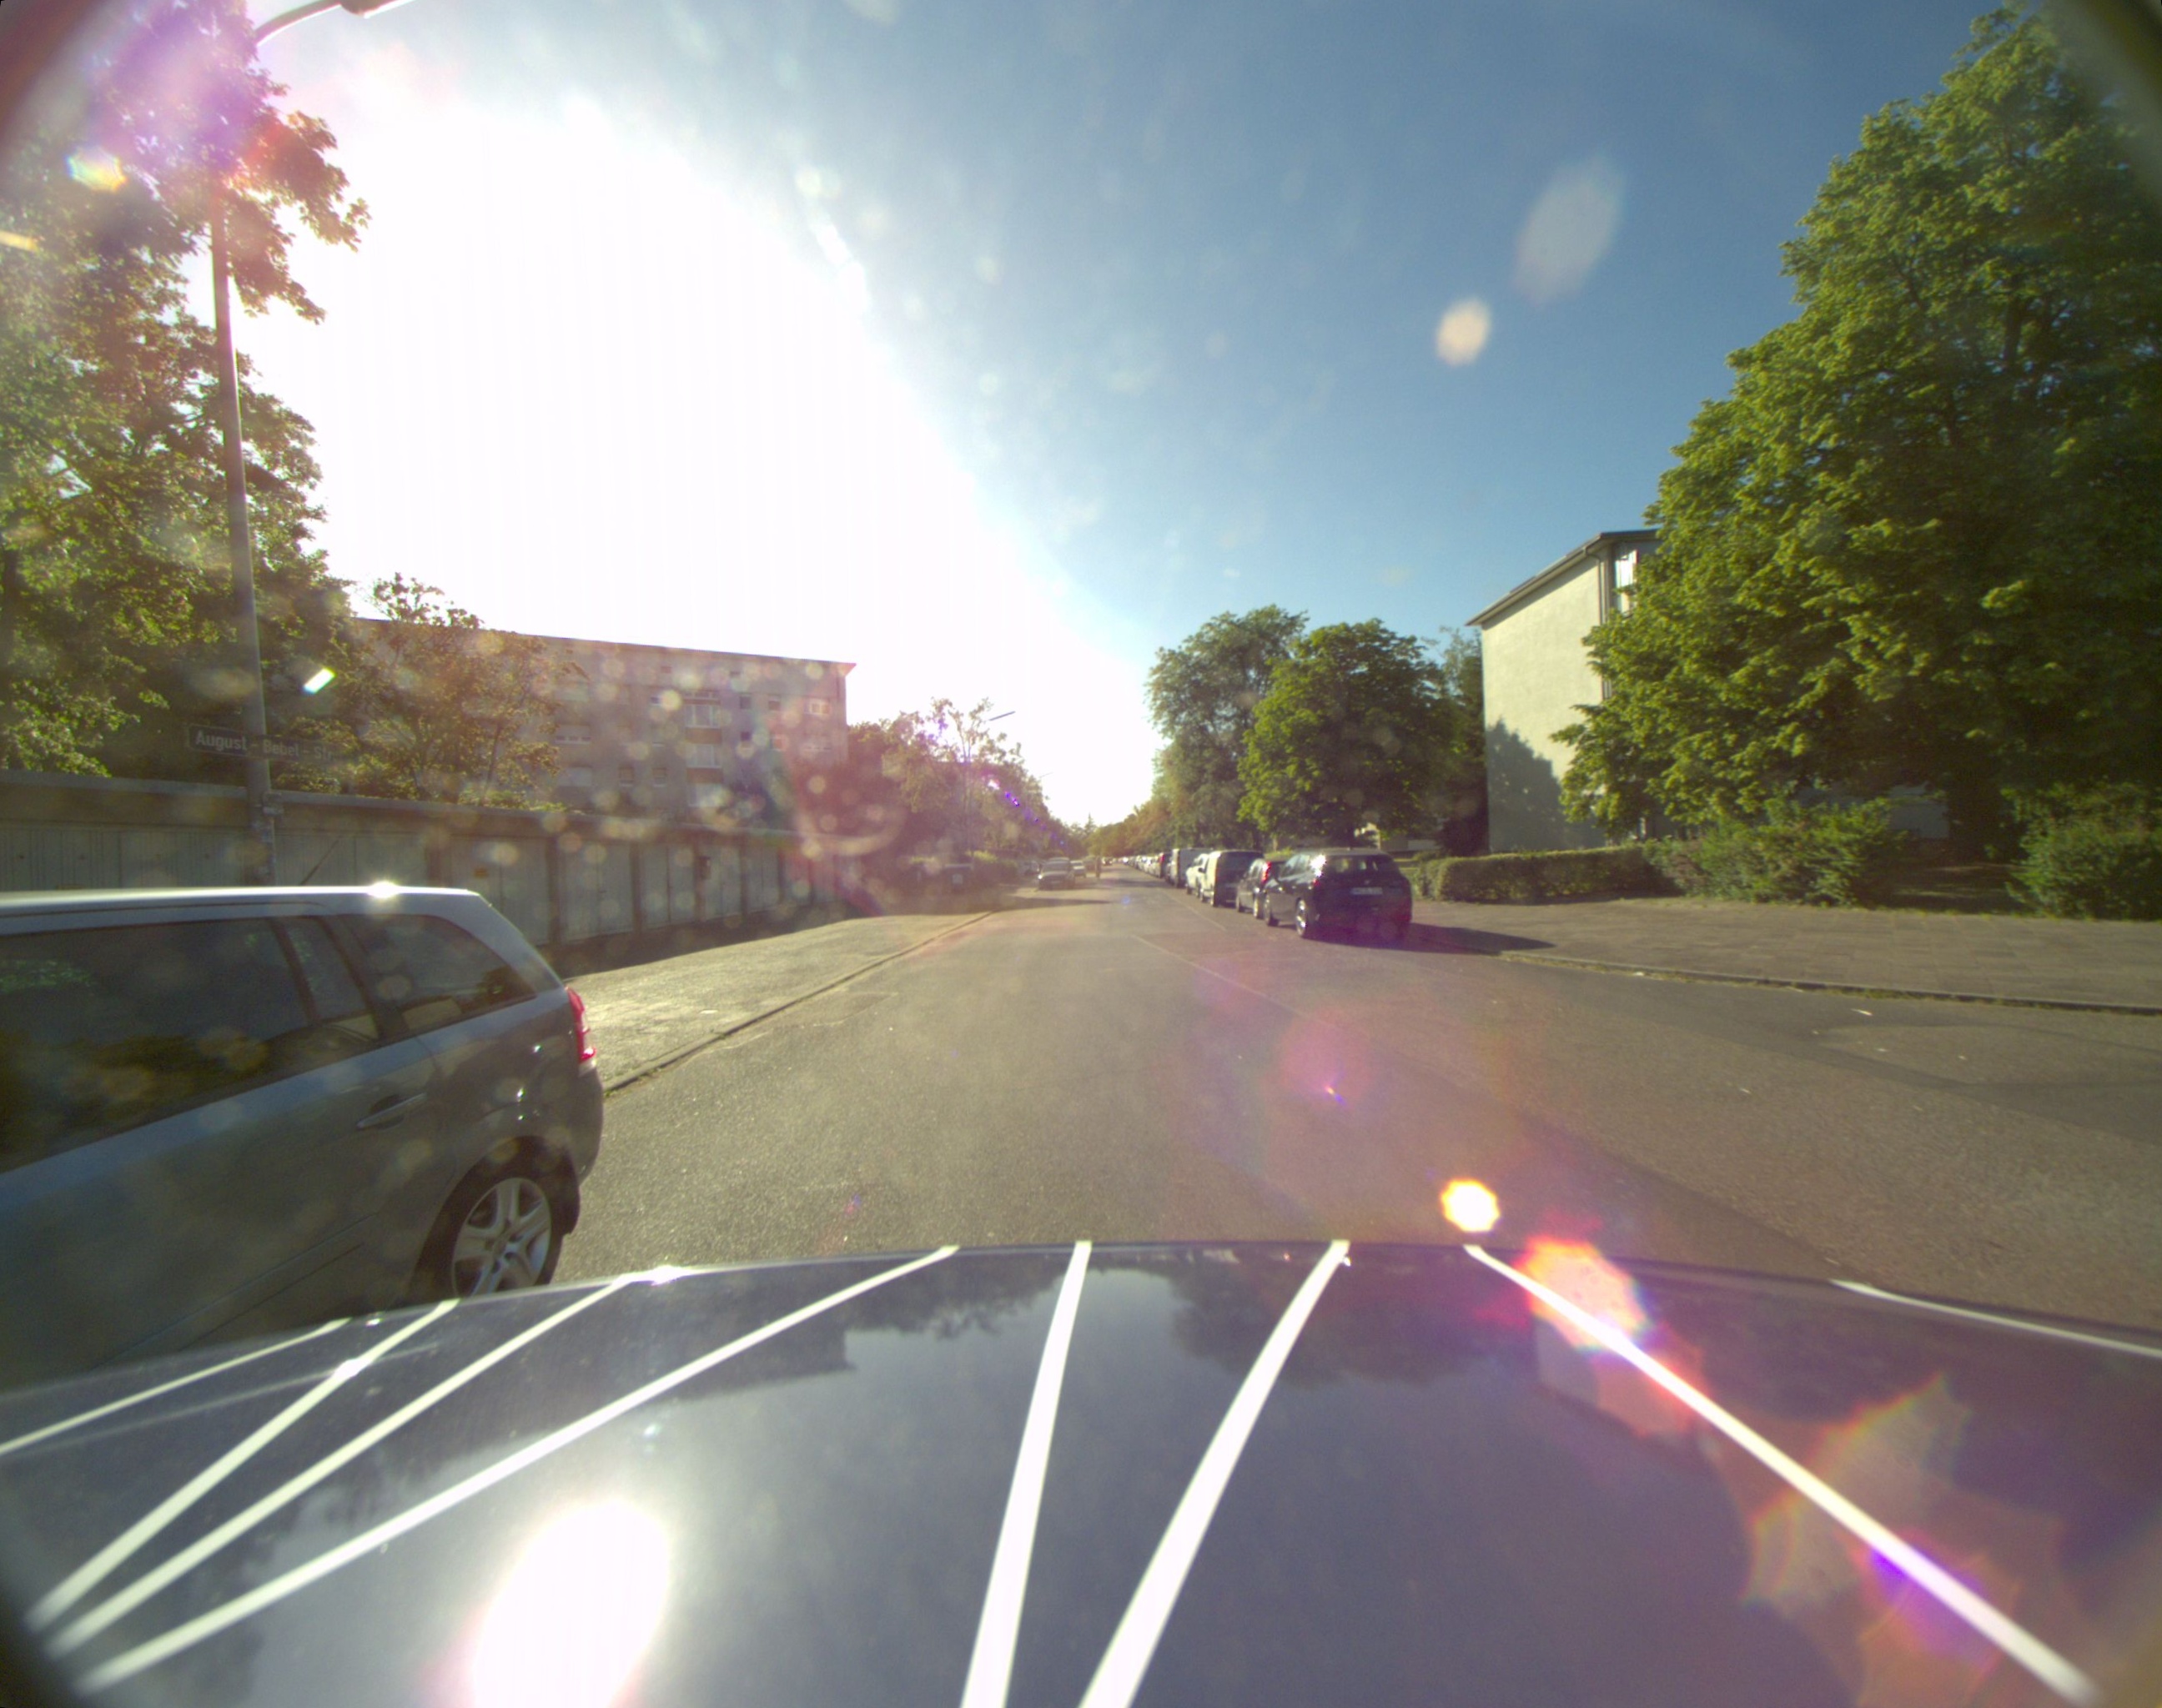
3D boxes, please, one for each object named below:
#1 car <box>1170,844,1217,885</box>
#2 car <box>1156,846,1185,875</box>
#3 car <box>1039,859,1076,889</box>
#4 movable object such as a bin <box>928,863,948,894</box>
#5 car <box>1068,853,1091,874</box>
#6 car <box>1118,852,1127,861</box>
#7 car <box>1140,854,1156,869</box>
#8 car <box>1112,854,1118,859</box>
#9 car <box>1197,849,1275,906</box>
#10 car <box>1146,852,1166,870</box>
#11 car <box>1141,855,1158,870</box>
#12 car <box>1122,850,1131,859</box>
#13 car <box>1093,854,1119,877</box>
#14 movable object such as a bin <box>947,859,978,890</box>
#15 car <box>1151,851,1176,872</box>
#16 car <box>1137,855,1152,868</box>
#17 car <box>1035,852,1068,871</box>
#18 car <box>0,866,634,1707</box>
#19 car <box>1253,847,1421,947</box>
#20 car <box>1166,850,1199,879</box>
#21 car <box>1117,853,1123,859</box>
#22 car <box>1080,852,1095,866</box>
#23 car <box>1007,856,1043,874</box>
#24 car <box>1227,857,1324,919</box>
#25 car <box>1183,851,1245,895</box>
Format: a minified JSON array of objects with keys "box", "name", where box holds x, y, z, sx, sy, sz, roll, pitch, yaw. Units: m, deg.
[{"box":[5.557,0.502,38.038,1.909,1.930,4.511,0,0,2],"name":"car"},{"box":[6.275,0.427,53.474,1.732,1.941,3.813,0,0,2],"name":"car"},{"box":[-1.237,1.033,41.326,1.732,1.462,3.813,-3,0,2],"name":"car"},{"box":[-6.834,1.184,36.322,0.754,1.434,0.848,-1,1,0],"name":"movable object such as a bin"},{"box":[-0.107,0.798,63.224,1.732,1.586,3.813,-3,0,2],"name":"car"},{"box":[8.281,0.510,150.480,1.632,1.619,3.556,0,0,2],"name":"car"},{"box":[7.581,0.866,86.591,1.632,1.619,3.556,0,0,2],"name":"car"},{"box":[9.689,0.705,214.107,1.632,1.629,3.566,0,0,2],"name":"car"},{"box":[4.873,0.703,24.398,1.817,1.672,3.648,1,0,1],"name":"car"},{"box":[6.908,0.601,70.341,1.632,1.619,3.556,0,0,2],"name":"car"},{"box":[7.475,0.913,82.630,1.632,1.619,3.556,0,0,2],"name":"car"},{"box":[8.647,0.123,143.628,1.632,1.619,3.556,0,0,2],"name":"car"},{"box":[1.853,0.848,56.523,1.732,1.586,3.813,-3,0,2],"name":"car"},{"box":[-5.742,0.968,36.798,1.278,1.434,1.179,-1,1,0],"name":"movable object such as a bin"},{"box":[6.401,0.564,59.244,1.632,1.619,3.556,0,0,2],"name":"car"},{"box":[7.727,0.913,92.227,1.632,1.619,3.556,0,0,2],"name":"car"},{"box":[-3.625,0.851,92.761,3.776,2.002,1.810,-4,1,1],"name":"car"},{"box":[-2.904,0.952,1.112,1.772,1.601,4.371,-4,1,0],"name":"car"},{"box":[4.644,0.704,14.518,1.784,1.564,4.424,-2,0,2],"name":"car"},{"box":[5.922,0.618,44.776,1.732,1.630,3.814,0,0,4],"name":"car"},{"box":[10.272,0.481,201.288,1.632,1.619,3.556,0,0,2],"name":"car"},{"box":[0.890,0.637,97.441,1.732,1.586,3.813,-3,0,2],"name":"car"},{"box":[-5.656,1.086,76.804,3.504,1.499,1.602,-5,1,-4],"name":"car"},{"box":[4.860,0.805,19.448,1.627,1.428,3.654,0,0,2],"name":"car"},{"box":[5.191,0.708,30.140,1.732,1.630,4.169,0,0,0],"name":"car"}]
